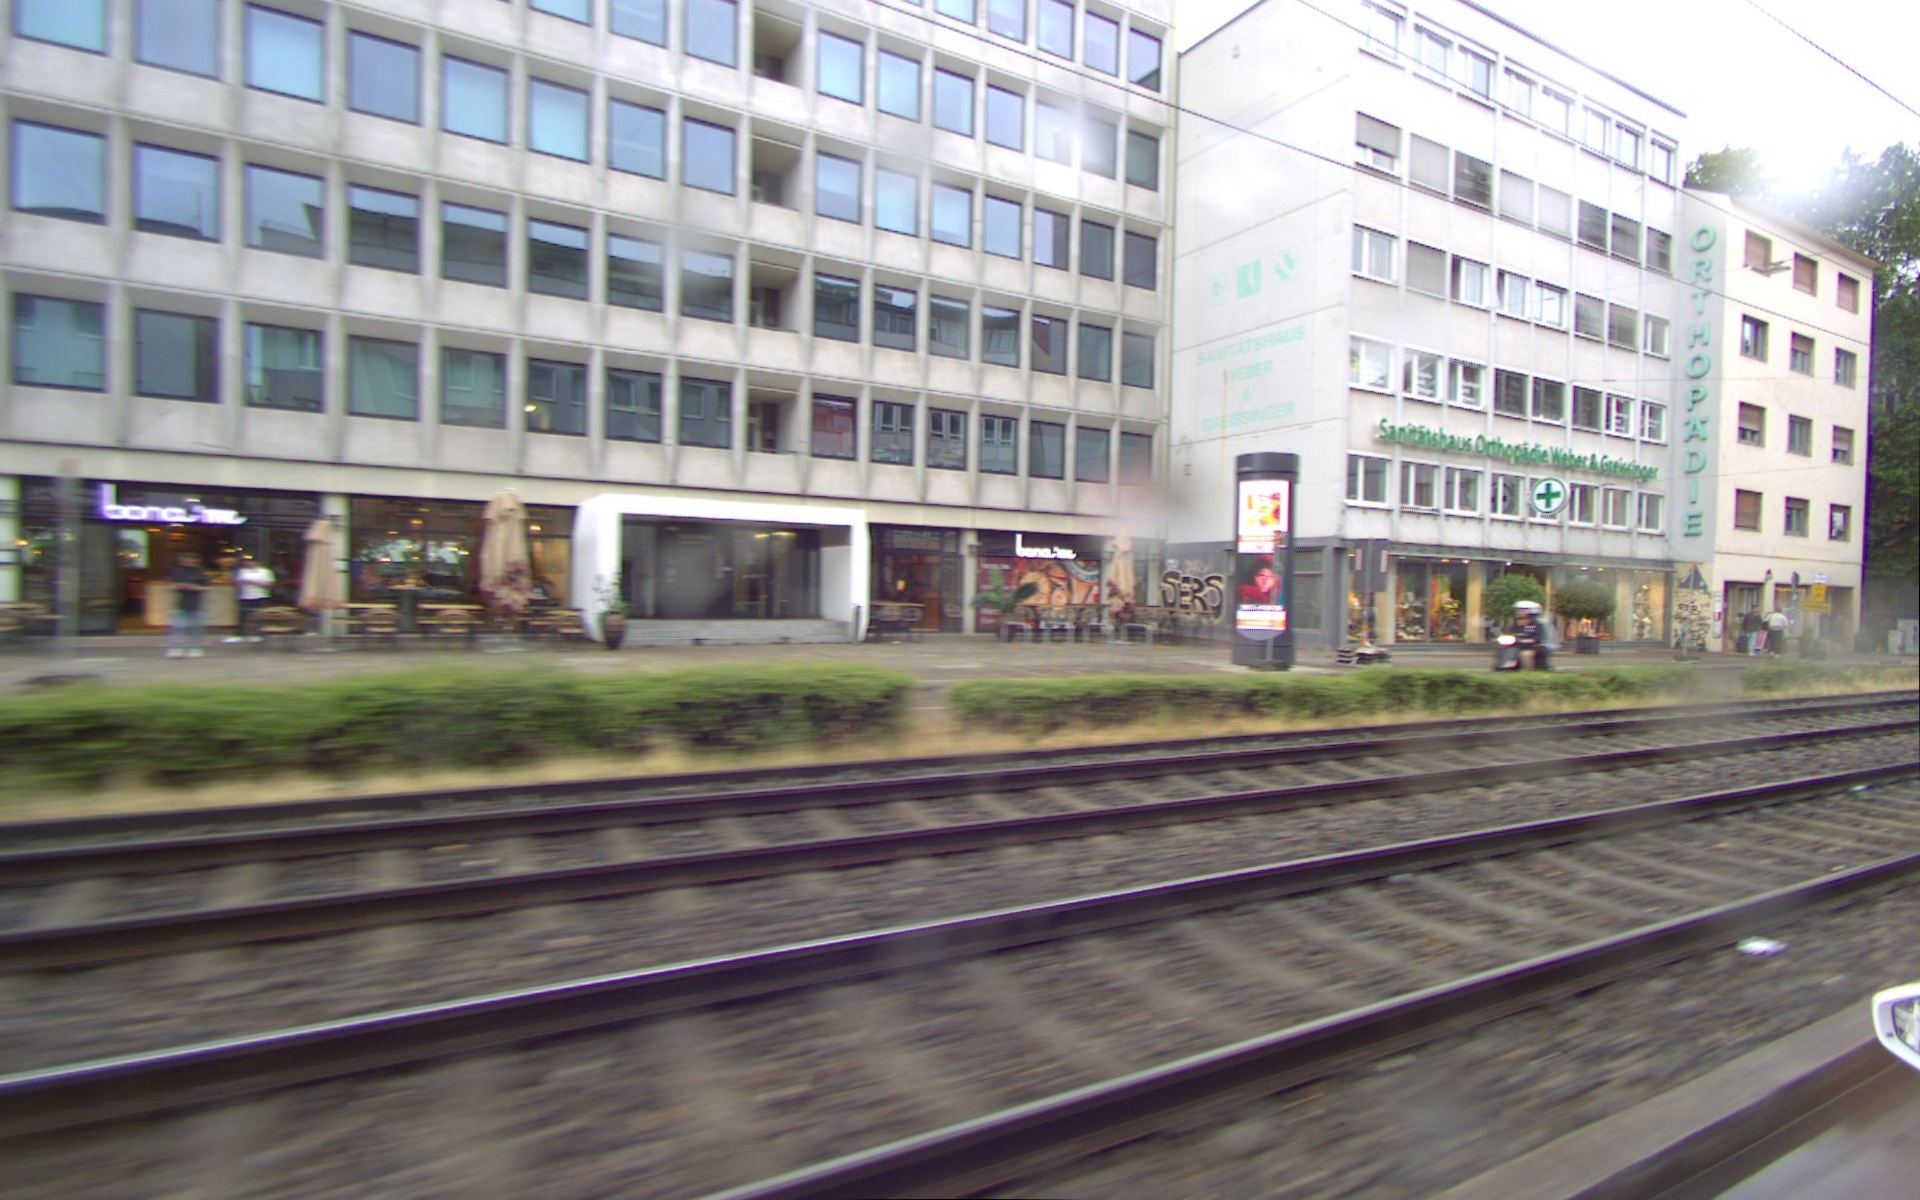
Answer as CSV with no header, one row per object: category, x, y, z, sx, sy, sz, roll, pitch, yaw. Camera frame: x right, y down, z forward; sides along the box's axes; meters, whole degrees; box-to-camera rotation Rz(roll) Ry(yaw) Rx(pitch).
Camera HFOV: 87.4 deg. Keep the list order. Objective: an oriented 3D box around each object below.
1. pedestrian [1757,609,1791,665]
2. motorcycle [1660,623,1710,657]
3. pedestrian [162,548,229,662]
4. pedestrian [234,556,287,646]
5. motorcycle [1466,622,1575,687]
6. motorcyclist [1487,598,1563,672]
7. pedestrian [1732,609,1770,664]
pedestrian,28.569,1.301,35.250,0.734,1.921,0.675,2,0,-30
motorcycle,27.070,1.468,37.510,0.381,1.195,1.469,1,1,-31
pedestrian,-12.720,0.087,16.733,0.836,1.847,0.560,1,1,-35
pedestrian,-14.103,0.020,20.276,0.836,1.772,0.560,1,1,-35
motorcycle,9.845,0.951,17.631,1.908,1.074,0.739,2,0,-29
motorcyclist,9.927,0.612,17.658,0.958,1.234,0.738,2,0,-28
pedestrian,28.297,1.303,35.942,0.971,1.921,0.723,2,0,-30
